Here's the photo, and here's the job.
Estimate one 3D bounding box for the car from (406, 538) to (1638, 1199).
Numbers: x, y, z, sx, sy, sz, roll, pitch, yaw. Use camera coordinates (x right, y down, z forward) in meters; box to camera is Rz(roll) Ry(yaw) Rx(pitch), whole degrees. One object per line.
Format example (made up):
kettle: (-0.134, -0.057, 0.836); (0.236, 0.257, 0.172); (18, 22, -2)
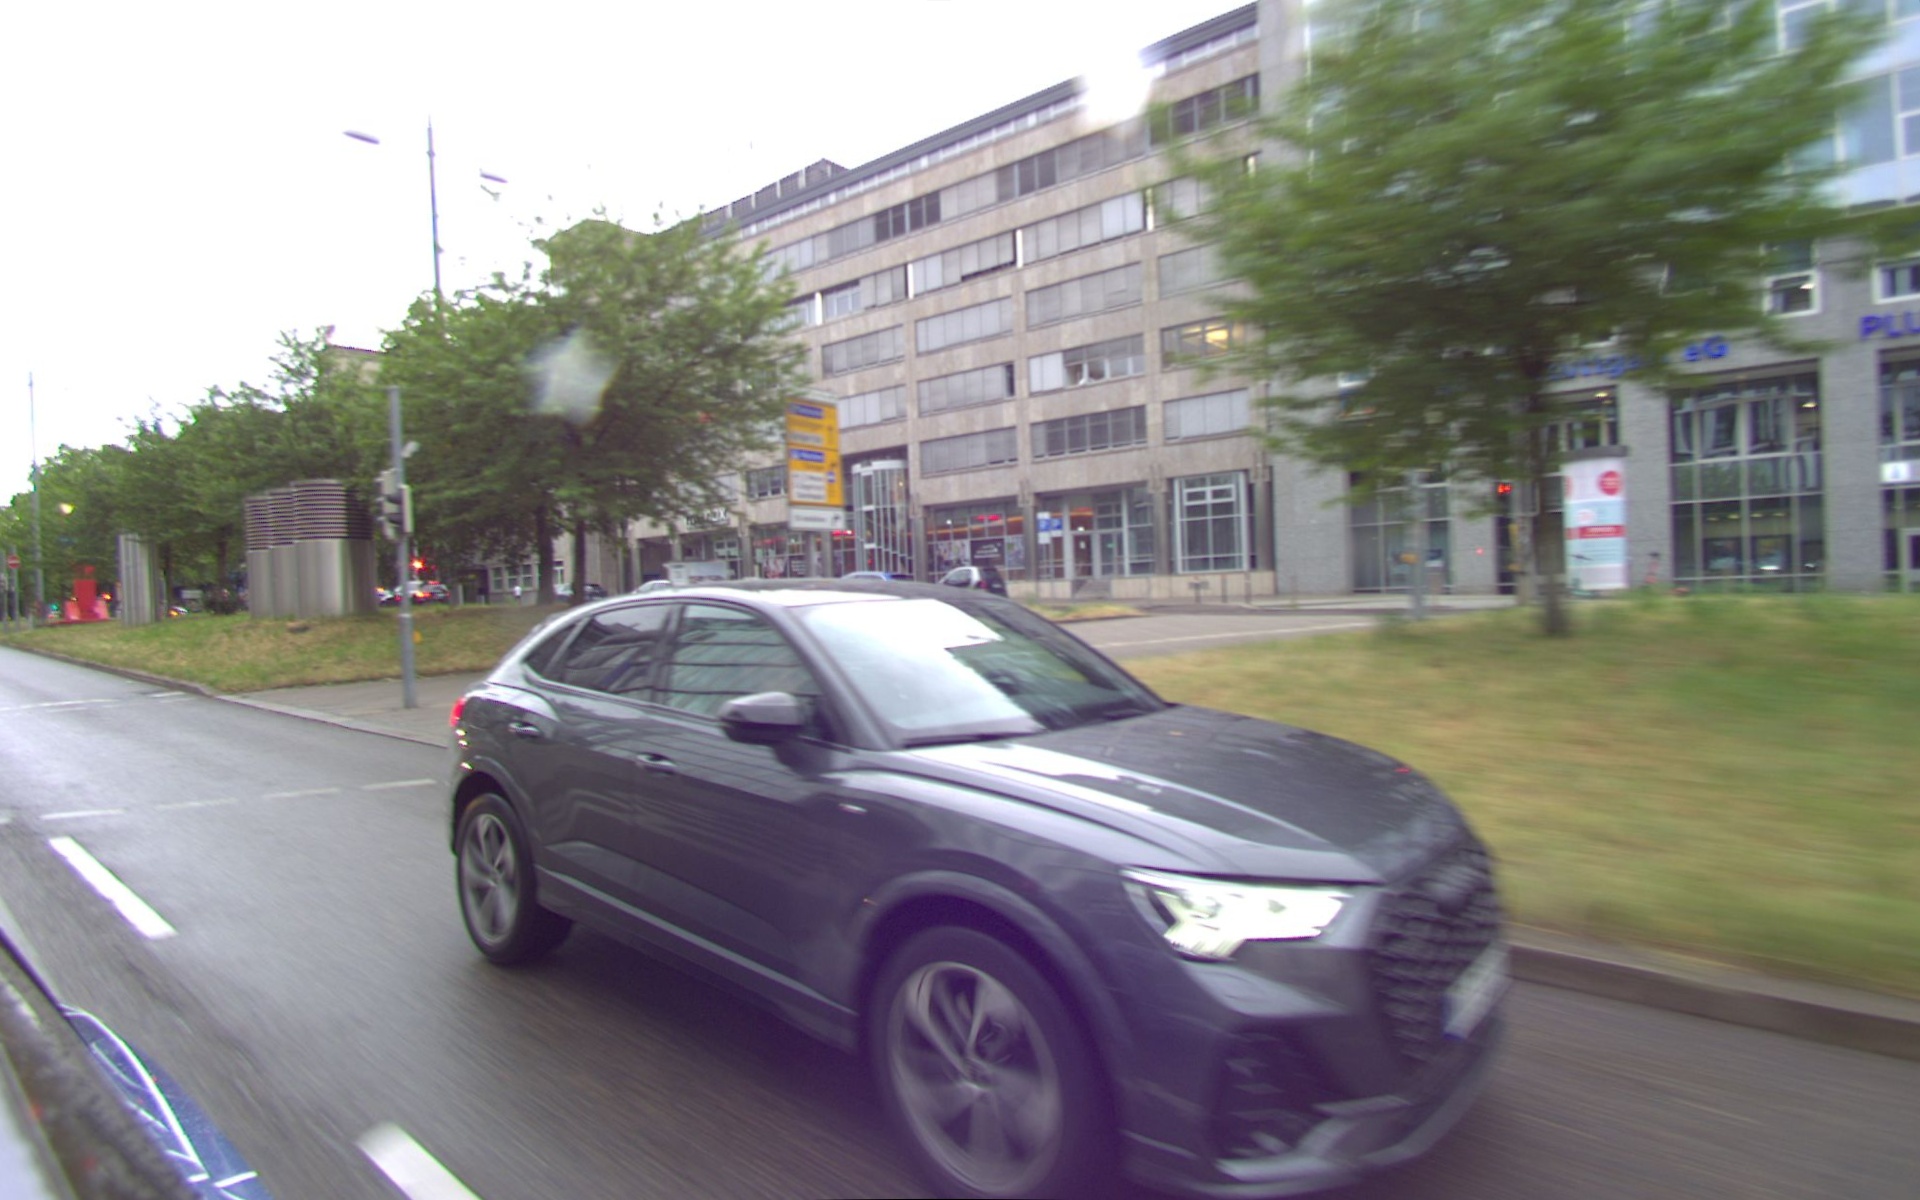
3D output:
car: (-0.236, 0.660, 3.750); (4.344, 1.529, 1.841); (-1, 1, 42)

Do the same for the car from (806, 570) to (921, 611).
car: (-3.698, -0.342, 38.440); (4.312, 1.395, 1.660); (-1, 3, 37)

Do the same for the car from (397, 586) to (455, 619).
car: (-24.188, 0.109, 45.827); (2.625, 1.395, 1.394); (-1, 3, 41)

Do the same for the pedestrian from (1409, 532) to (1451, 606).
pedestrian: (12.228, -0.794, 26.315); (0.928, 1.895, 0.950); (-1, 1, 28)

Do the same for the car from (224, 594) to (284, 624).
car: (-41.189, 0.542, 58.983); (4.105, 1.591, 1.856); (-1, 3, 41)

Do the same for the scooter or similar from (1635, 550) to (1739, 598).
scooter or similar: (19.671, -0.688, 27.419); (2.242, 1.221, 0.765); (-1, 1, 37)

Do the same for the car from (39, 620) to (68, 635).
car: (-110.035, 3.281, 122.789); (4.105, 1.599, 2.046); (-1, 3, 41)

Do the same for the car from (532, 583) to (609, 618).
car: (-19.435, 0.038, 50.433); (4.100, 1.591, 1.557); (-1, 3, 37)

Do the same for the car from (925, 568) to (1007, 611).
car: (0.192, -0.369, 35.382); (2.625, 1.395, 1.228); (-1, 3, 41)

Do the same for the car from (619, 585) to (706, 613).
car: (-13.406, -0.039, 45.522); (4.100, 1.130, 1.557); (-1, 3, 37)

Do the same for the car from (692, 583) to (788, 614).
car: (-9.206, -0.067, 42.203); (4.100, 1.130, 1.557); (-1, 3, 37)
